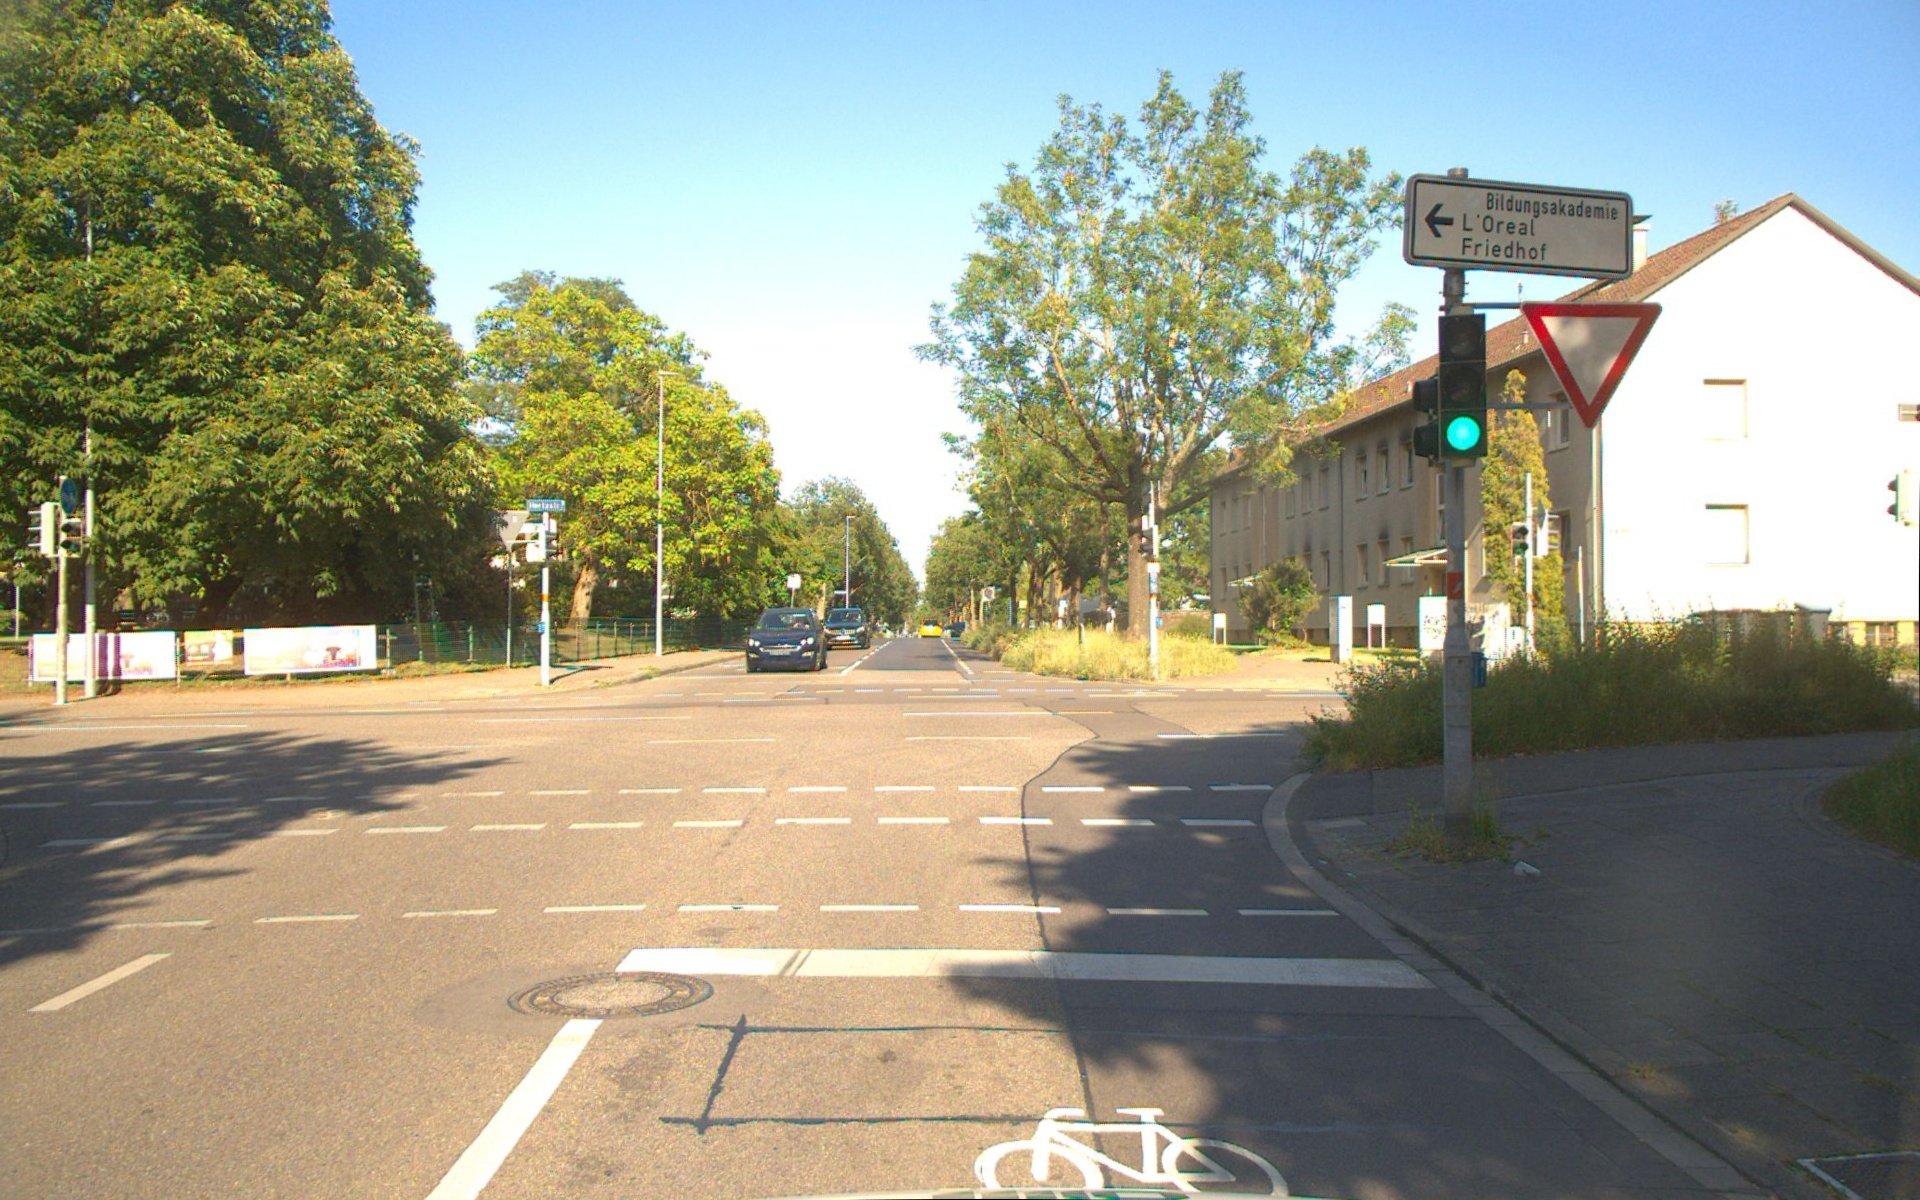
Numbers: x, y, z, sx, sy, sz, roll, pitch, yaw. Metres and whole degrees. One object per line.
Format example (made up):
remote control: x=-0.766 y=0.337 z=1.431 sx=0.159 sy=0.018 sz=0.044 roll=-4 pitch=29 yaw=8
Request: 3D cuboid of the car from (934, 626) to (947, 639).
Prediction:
car: x=-2.613 y=4.295 z=219.112 sx=1.737 sy=1.785 sz=3.999 roll=1 pitch=-1 yaw=-1

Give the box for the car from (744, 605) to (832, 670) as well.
car: x=-3.955 y=0.845 z=38.526 sx=1.676 sy=1.410 sz=3.471 roll=0 pitch=0 yaw=0

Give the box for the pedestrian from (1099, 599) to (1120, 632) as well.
pedestrian: x=7.065 y=0.713 z=78.129 sx=0.825 sy=1.519 sz=0.924 roll=2 pitch=0 yaw=-1

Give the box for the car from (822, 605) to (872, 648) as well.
car: x=-4.466 y=1.038 z=65.632 sx=1.722 sy=1.653 sz=3.268 roll=0 pitch=0 yaw=0

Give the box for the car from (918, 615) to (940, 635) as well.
car: x=-2.487 y=2.007 z=133.958 sx=1.716 sy=1.610 sz=3.999 roll=1 pitch=-1 yaw=-1
